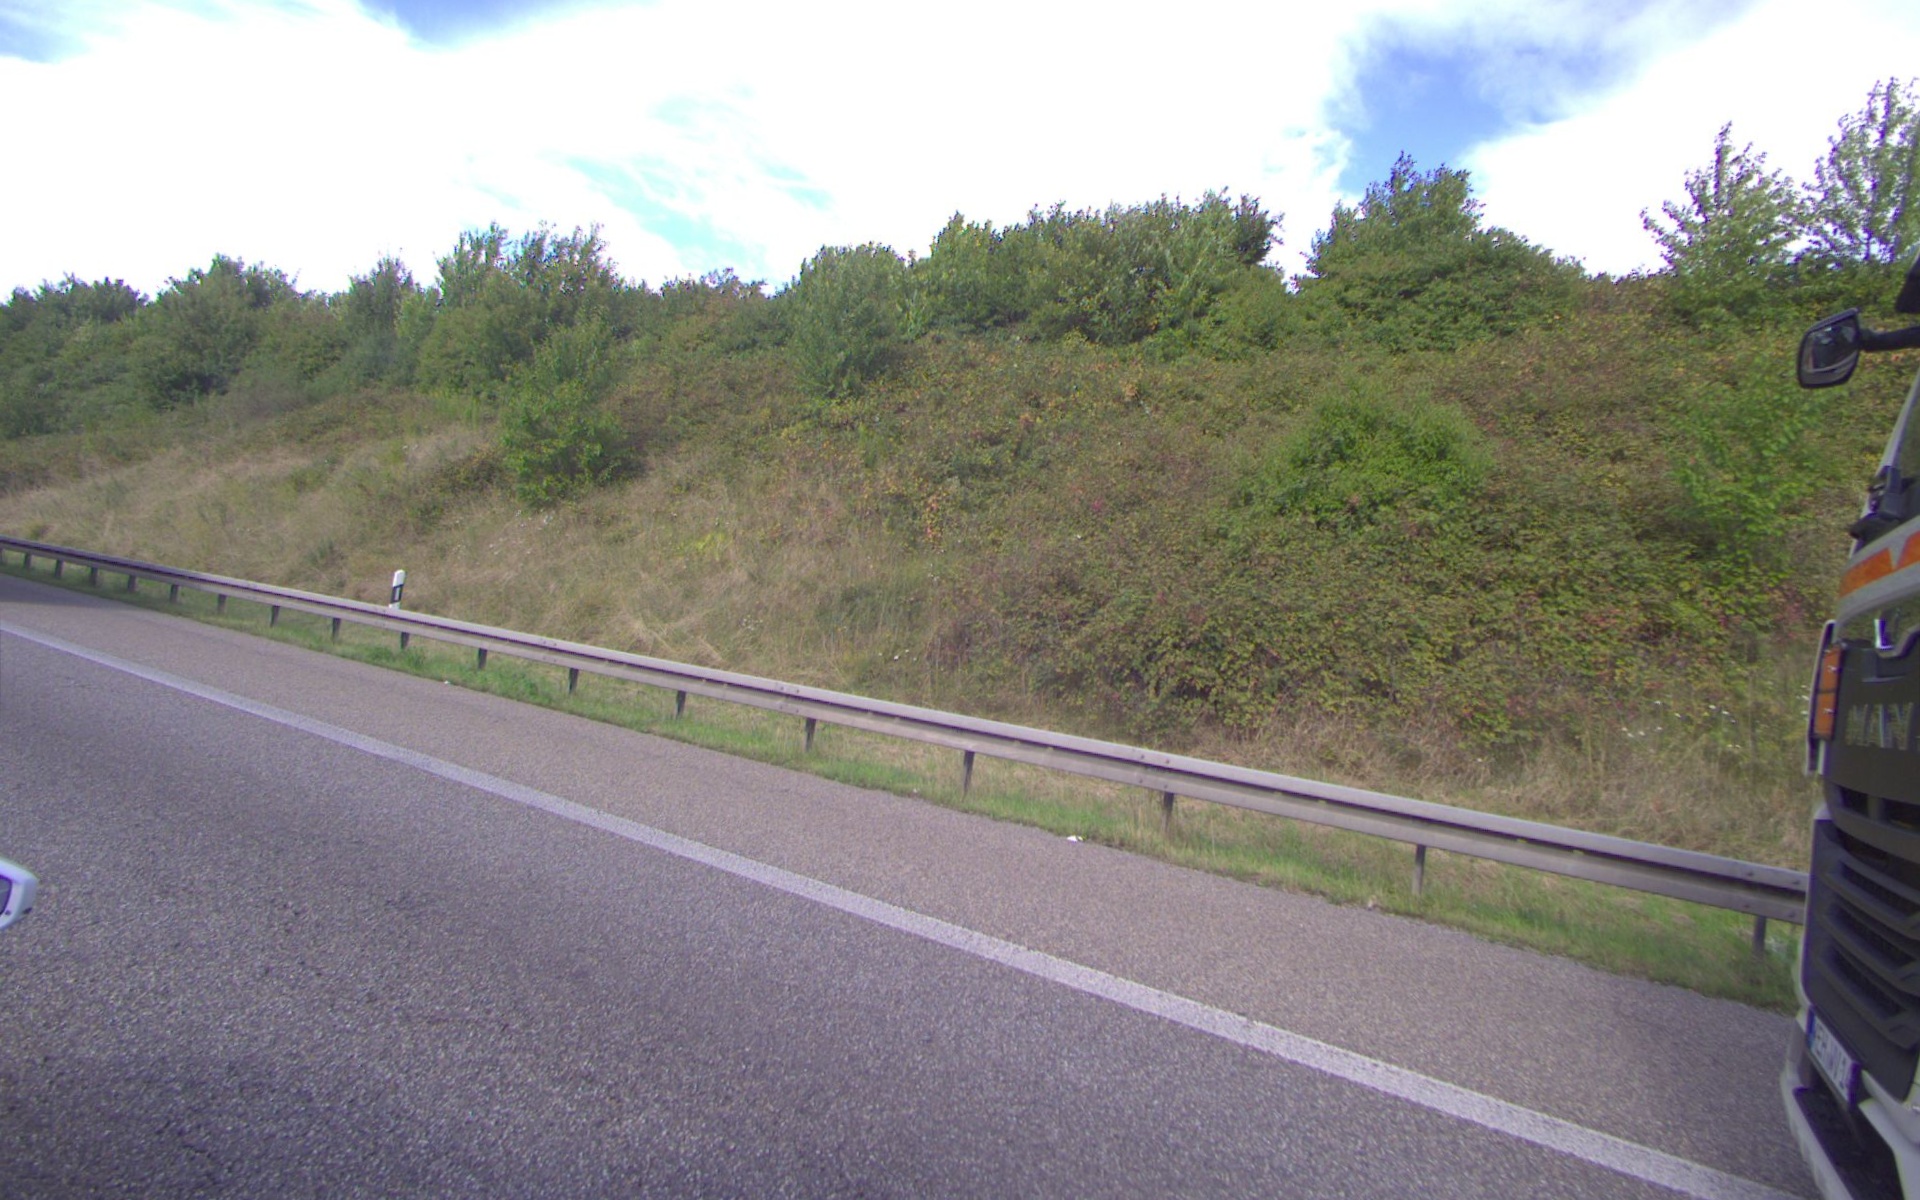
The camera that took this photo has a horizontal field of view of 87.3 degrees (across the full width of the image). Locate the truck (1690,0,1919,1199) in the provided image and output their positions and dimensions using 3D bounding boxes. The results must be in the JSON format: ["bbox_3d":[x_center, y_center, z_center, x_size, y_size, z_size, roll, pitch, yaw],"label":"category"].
[{"bbox_3d":[4.671,0.031,1.034,5.808,4.091,2.806,6,-1,33],"label":"truck"}]
